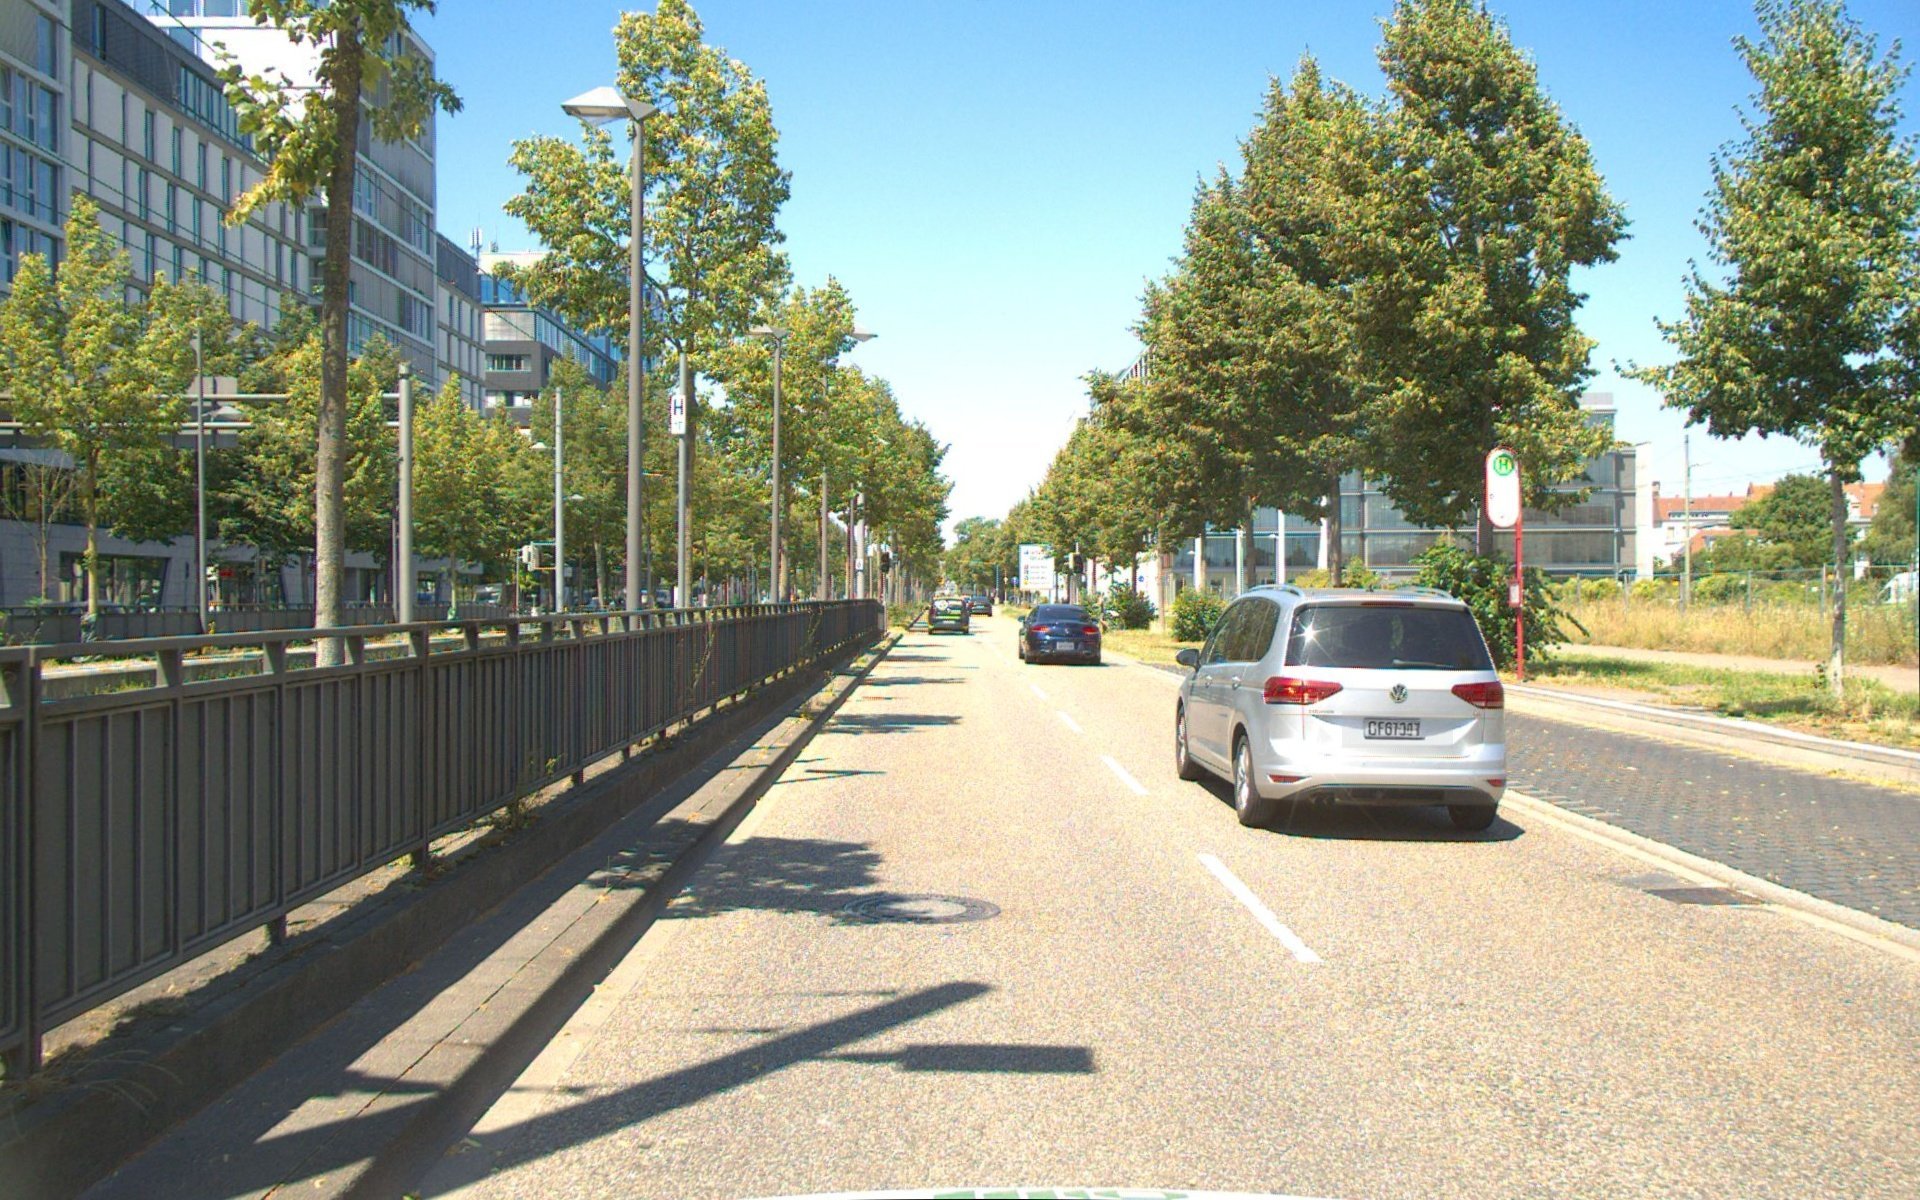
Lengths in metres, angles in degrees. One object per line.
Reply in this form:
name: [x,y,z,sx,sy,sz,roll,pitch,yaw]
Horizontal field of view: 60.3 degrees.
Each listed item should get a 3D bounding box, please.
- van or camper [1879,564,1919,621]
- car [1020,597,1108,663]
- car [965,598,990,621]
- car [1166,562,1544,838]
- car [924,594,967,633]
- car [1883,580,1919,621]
van or camper: [48.625,-0.382,83.119,1.955,2.851,4.657,0,0,-5]
car: [2.419,0.672,39.534,1.814,1.461,4.955,0,0,0]
car: [1.296,0.719,123.138,1.730,1.655,3.714,0,0,-2]
car: [2.799,0.675,12.815,1.764,1.677,4.603,2,-1,0]
car: [-0.604,0.540,65.068,1.586,1.477,3.985,-1,-1,-2]
car: [48.627,0.019,83.117,1.955,2.049,4.171,0,0,-5]
